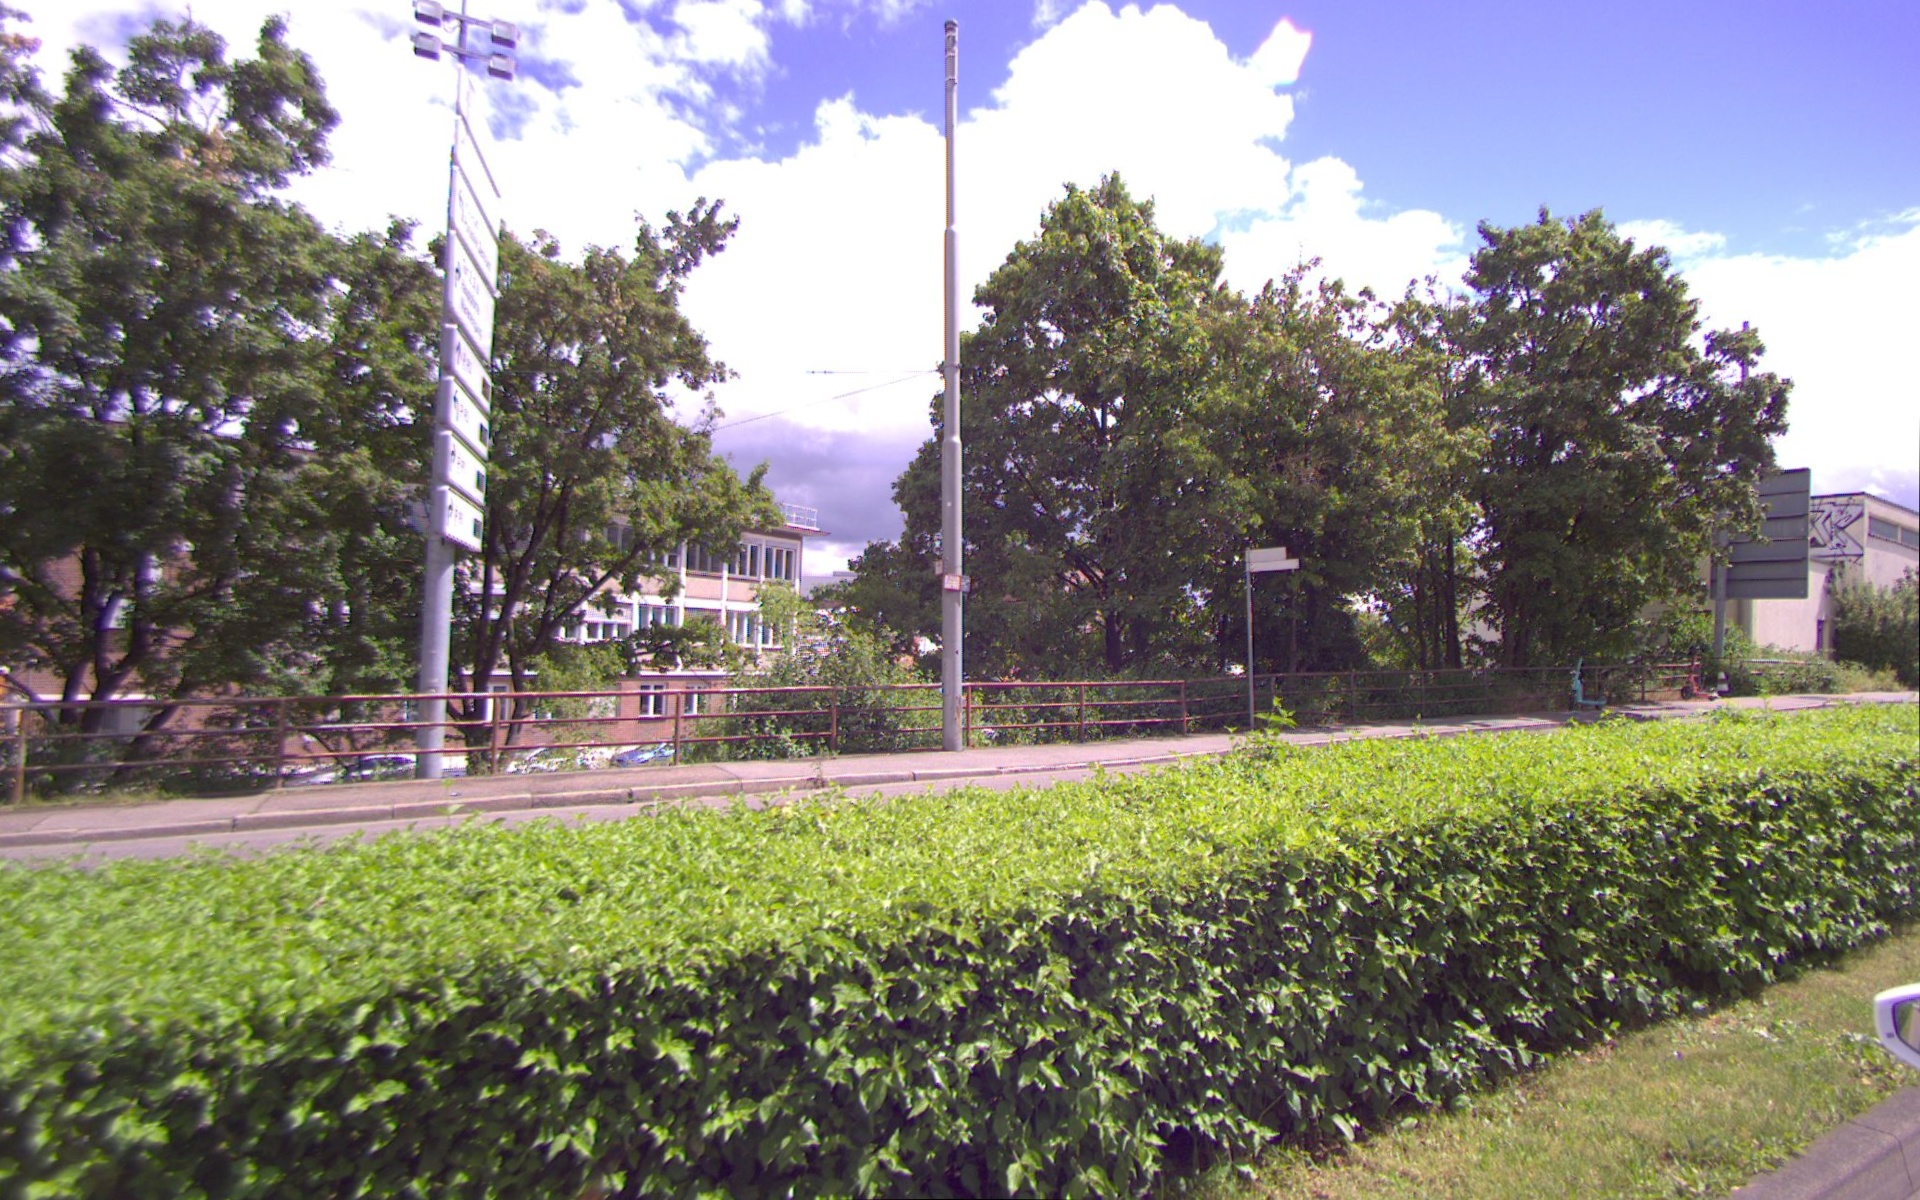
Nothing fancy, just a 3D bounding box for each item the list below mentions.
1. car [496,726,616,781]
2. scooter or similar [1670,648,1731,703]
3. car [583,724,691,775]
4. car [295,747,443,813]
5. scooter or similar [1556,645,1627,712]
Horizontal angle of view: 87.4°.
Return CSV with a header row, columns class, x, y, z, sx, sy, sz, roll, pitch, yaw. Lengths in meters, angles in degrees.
class,x,y,z,sx,sy,sz,roll,pitch,yaw
car,-14.708,5.565,36.716,1.693,1.547,3.746,-2,-3,38
scooter or similar,17.365,1.756,23.553,1.623,1.232,0.489,1,-2,-29
car,-12.660,5.833,39.509,1.693,1.547,3.746,-2,-3,38
car,-18.787,5.684,32.018,1.697,1.547,3.739,-2,-3,44
scooter or similar,12.973,1.593,20.637,1.623,1.322,0.489,1,0,-29
